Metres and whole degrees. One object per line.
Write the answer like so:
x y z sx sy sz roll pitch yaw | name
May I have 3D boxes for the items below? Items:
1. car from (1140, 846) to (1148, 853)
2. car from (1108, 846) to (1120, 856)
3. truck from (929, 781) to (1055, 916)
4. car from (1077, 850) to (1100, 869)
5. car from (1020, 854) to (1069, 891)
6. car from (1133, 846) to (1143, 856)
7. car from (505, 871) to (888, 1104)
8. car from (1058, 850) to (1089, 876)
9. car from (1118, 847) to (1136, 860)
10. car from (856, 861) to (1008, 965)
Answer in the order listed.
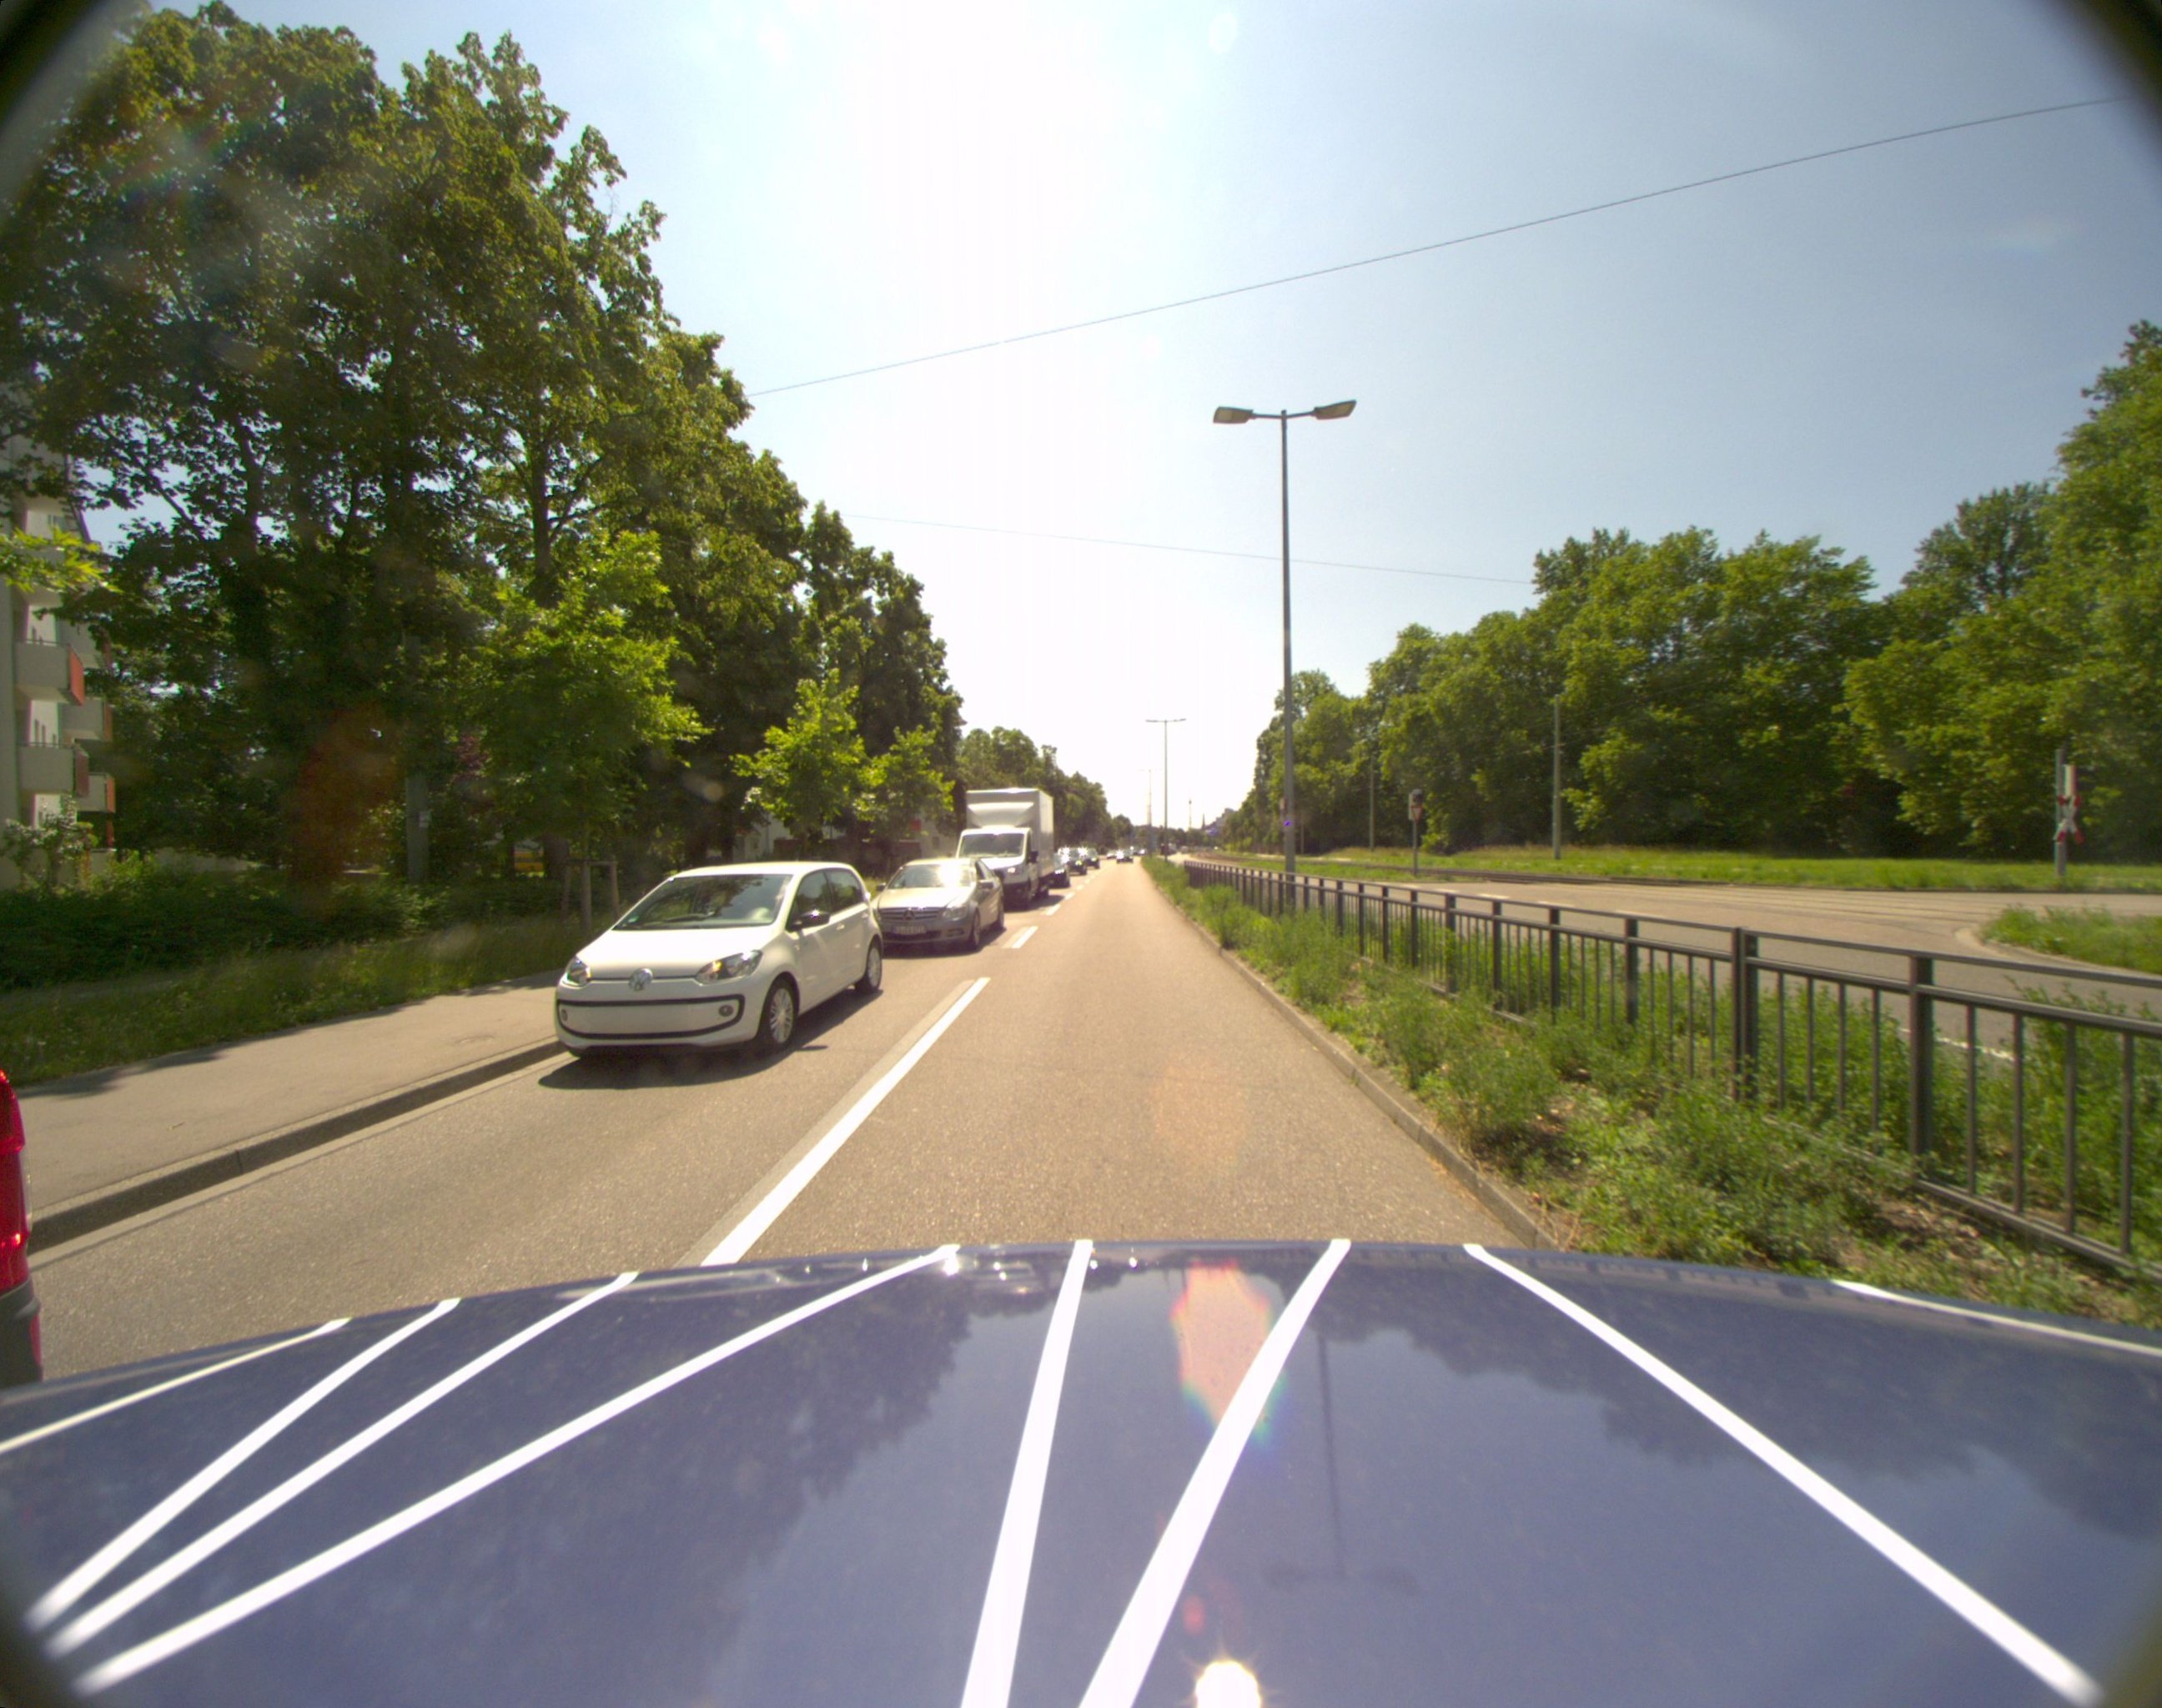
14.195 -1.026 171.078 1.745 1.382 3.889 -1 1 7 | car
5.177 -0.503 118.223 1.745 1.382 3.888 -1 1 4 | car
-2.313 -0.181 21.963 2.489 3.277 6.605 -1 1 3 | truck
0.632 0.404 60.877 1.746 1.382 3.887 -1 1 2 | car
-1.454 0.740 31.915 1.746 1.382 3.887 -1 1 2 | car
10.927 -0.511 146.090 1.745 1.840 3.889 -1 1 8 | car
-3.086 0.960 6.968 1.626 1.433 3.498 -2 1 1 | car
-0.425 0.521 46.186 1.618 1.373 4.114 -2 1 2 | car
4.914 -0.081 81.532 1.746 1.382 3.887 -1 1 2 | car
-2.373 0.880 13.123 1.618 1.373 4.114 -2 1 2 | car
